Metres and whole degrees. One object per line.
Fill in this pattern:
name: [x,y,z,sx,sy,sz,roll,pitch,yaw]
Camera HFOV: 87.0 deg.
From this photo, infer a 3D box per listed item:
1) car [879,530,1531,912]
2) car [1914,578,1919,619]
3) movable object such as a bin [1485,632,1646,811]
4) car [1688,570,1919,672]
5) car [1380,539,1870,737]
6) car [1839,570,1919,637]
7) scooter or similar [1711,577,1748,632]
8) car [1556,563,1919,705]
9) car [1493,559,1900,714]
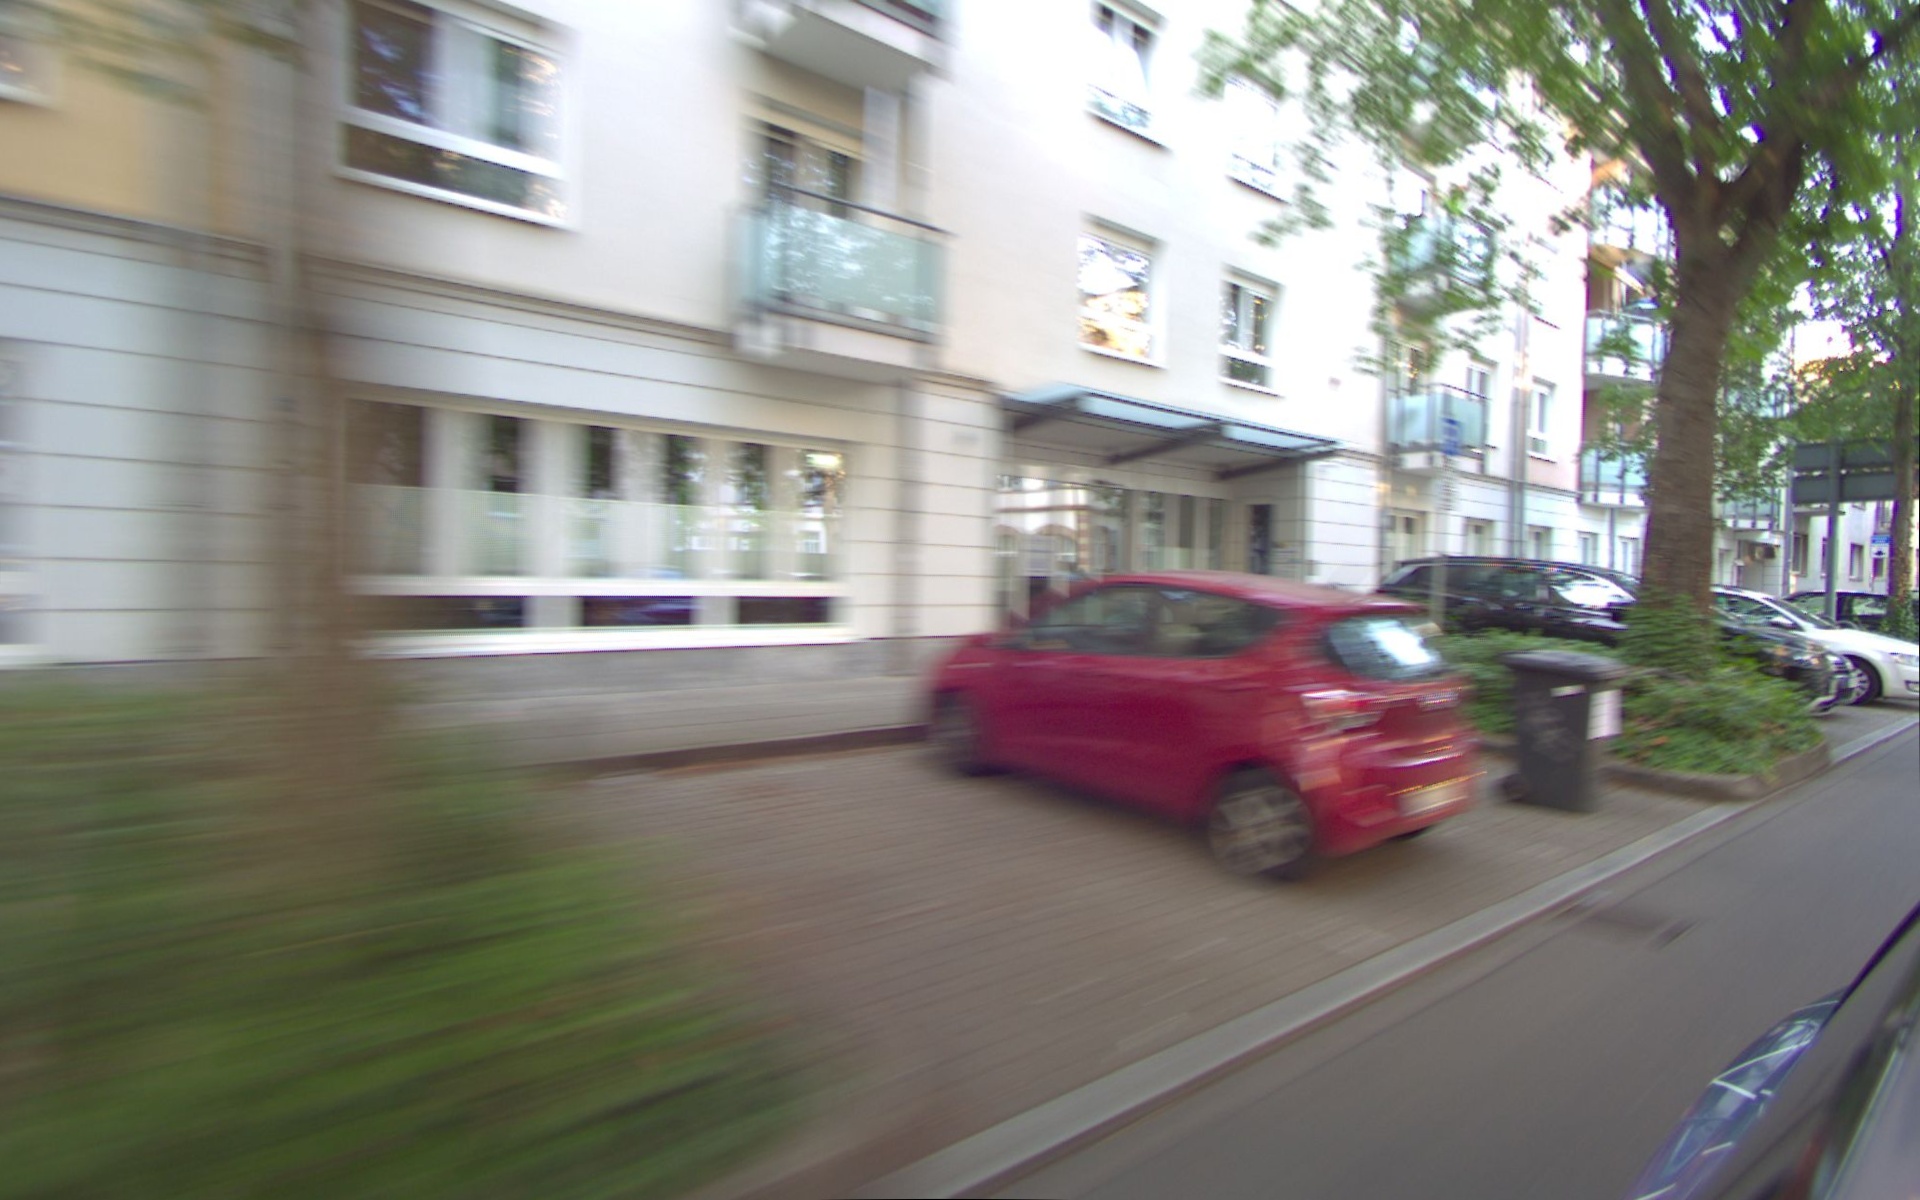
car: [1.287,0.429,6.470,1.750,1.566,3.674,-2,6,-41]
car: [36.808,0.130,35.624,1.698,1.487,4.377,1,4,-34]
movable object such as a bin: [4.122,0.787,6.904,0.578,1.081,0.776,0,1,-40]
car: [16.115,0.348,18.658,1.881,1.492,3.995,0,5,-43]
car: [7.537,0.262,11.849,1.863,1.724,4.392,0,5,-42]
car: [26.736,0.161,27.554,1.891,1.687,3.874,0,4,-39]
scooter or similar: [17.982,0.104,23.629,1.230,1.256,0.400,0,1,-40]
car: [11.625,0.383,14.831,1.741,1.570,4.585,0,5,-39]
car: [9.599,0.352,13.505,1.695,1.543,4.001,0,5,-37]
